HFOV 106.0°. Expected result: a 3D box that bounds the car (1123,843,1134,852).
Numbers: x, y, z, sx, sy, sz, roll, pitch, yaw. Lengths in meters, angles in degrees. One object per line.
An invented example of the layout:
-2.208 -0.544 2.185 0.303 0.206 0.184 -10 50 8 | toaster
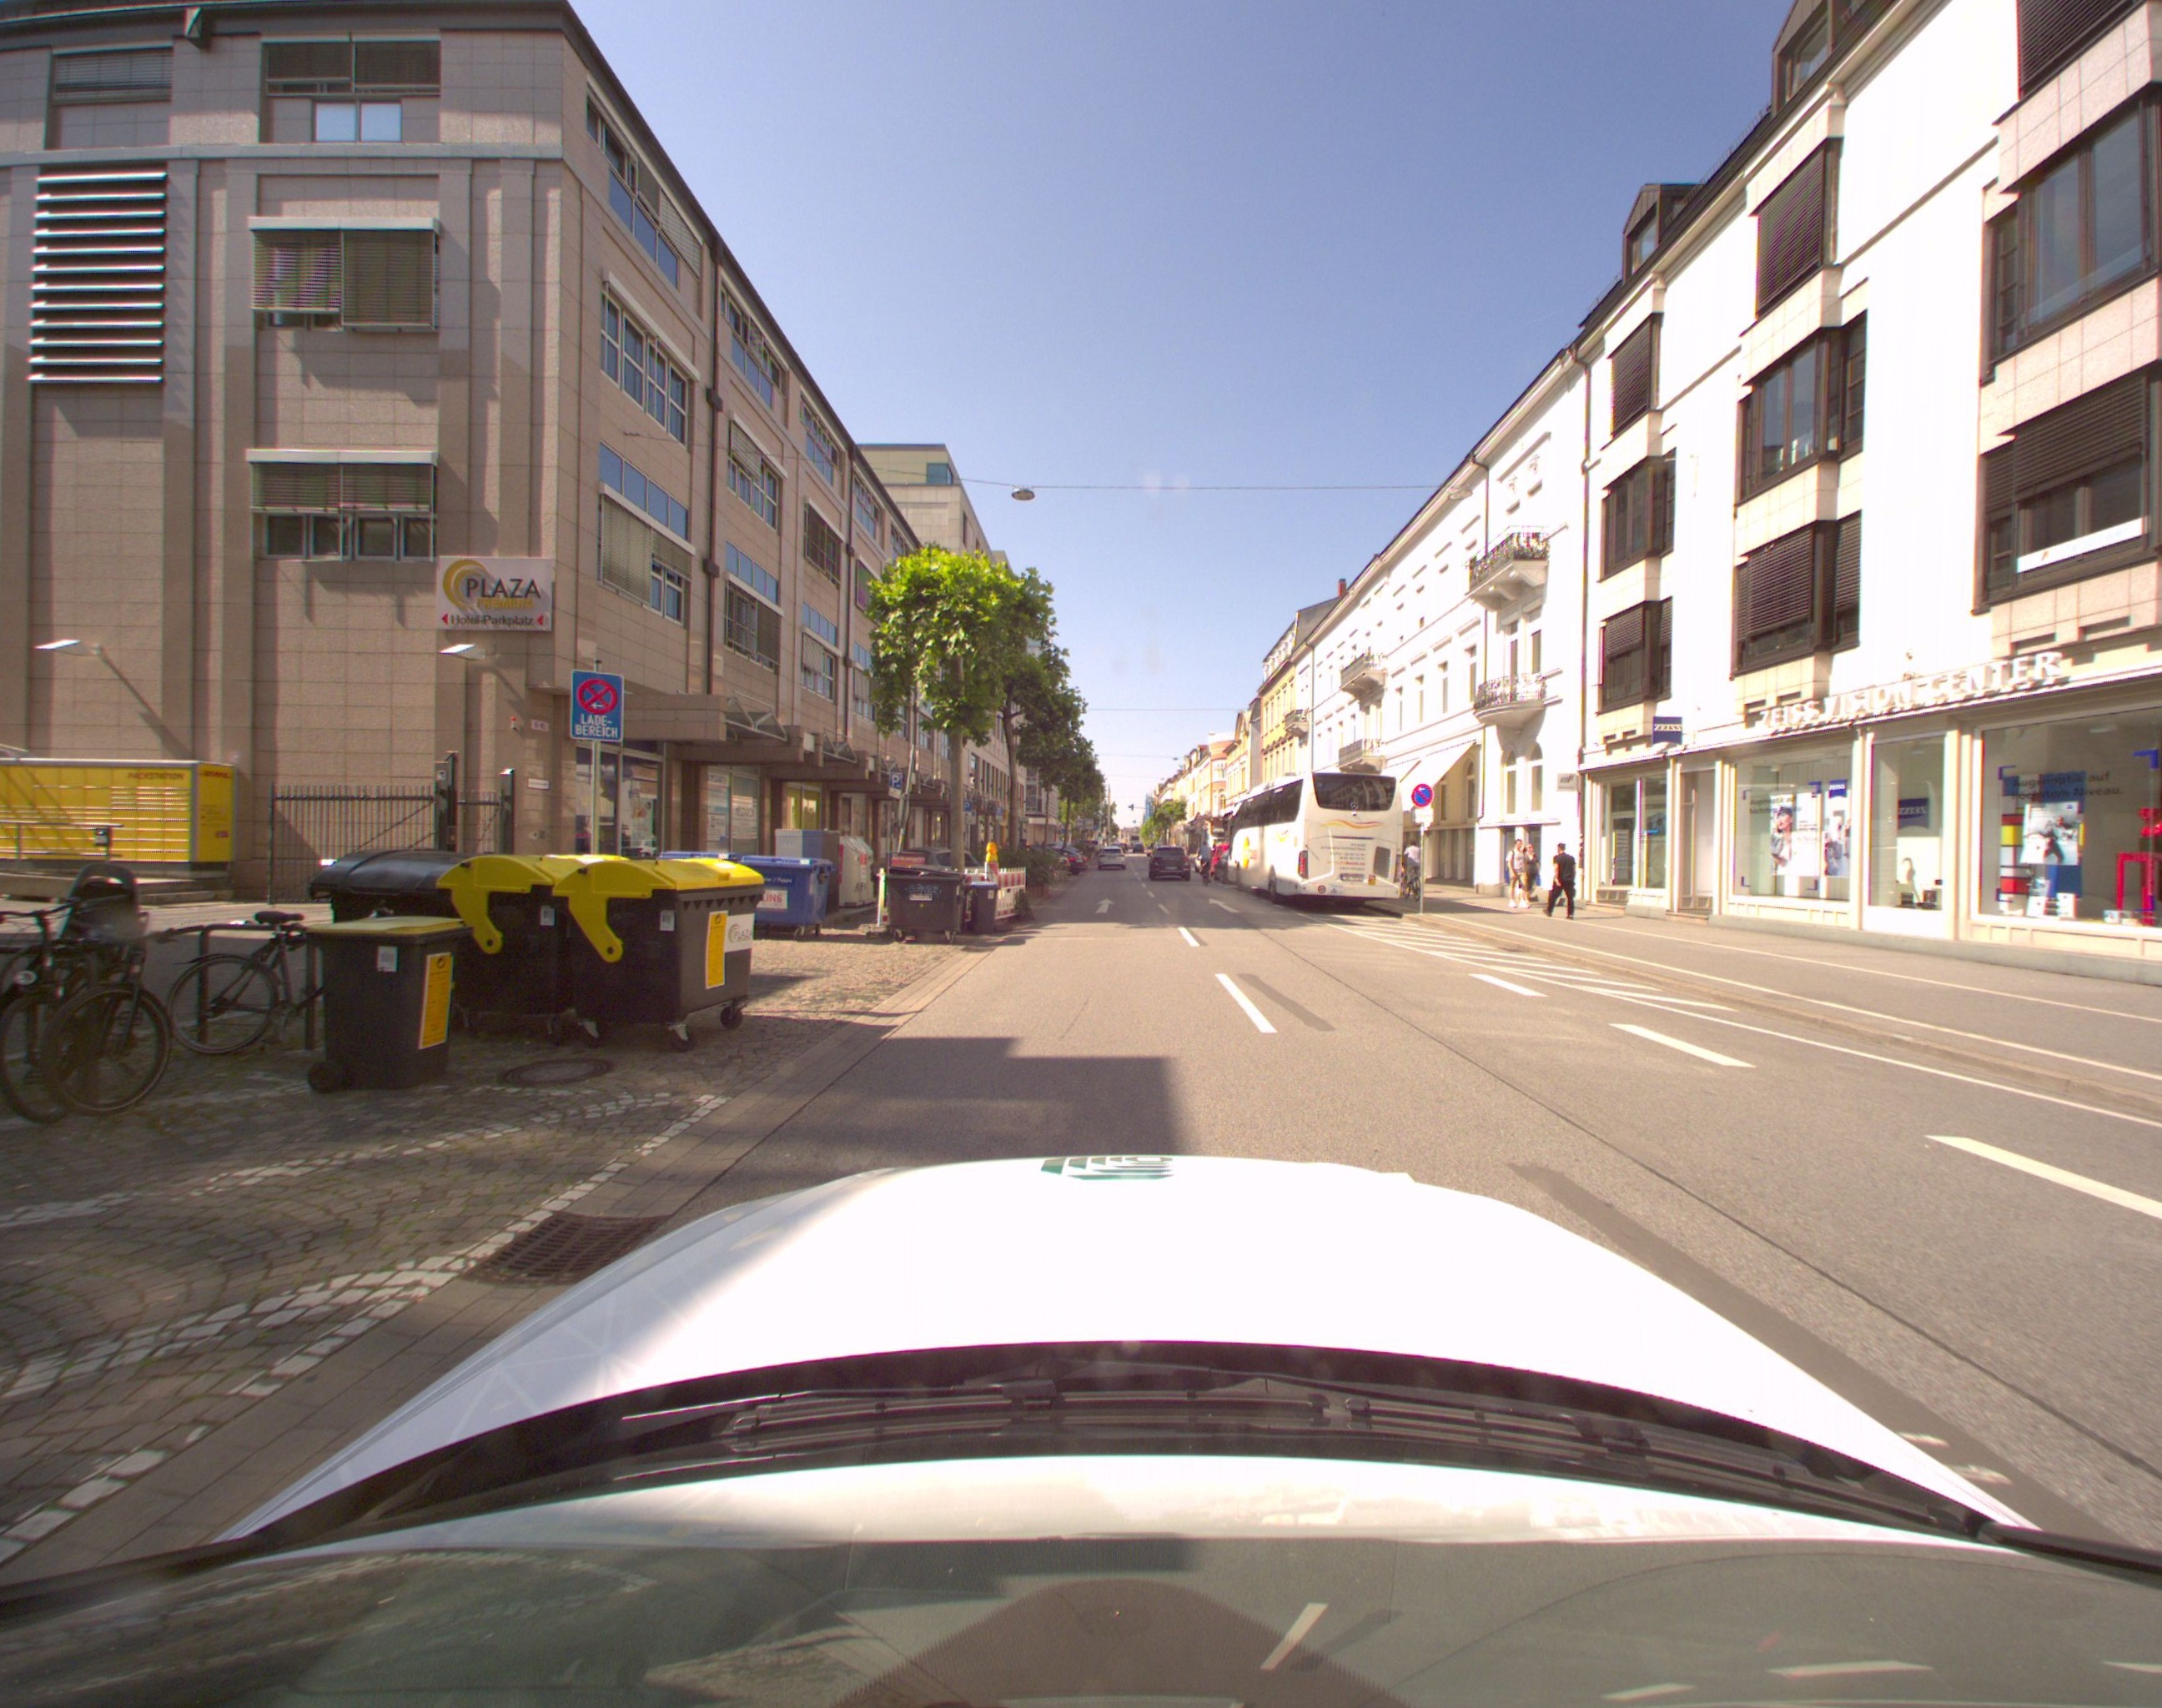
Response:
8.144 -1.097 140.052 1.856 1.441 4.001 -1 -1 2 | car

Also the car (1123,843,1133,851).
9.253 -1.302 159.012 1.856 1.441 4.001 -1 -1 2 | car

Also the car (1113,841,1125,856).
5.677 -0.807 121.879 1.856 2.030 4.002 1 -1 2 | car

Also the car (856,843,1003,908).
-4.178 0.515 22.168 4.008 1.494 1.947 3 2 44 | car

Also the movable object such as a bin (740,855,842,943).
-4.723 0.710 13.356 1.204 1.299 1.081 2 2 2 | movable object such as a bin

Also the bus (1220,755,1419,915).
6.789 -0.522 25.807 2.871 3.741 12.432 2 1 2 | bus

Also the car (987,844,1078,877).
-2.558 0.297 41.715 4.699 1.533 2.002 2 1 45 | car

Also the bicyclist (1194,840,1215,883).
4.979 0.300 32.875 0.691 1.673 0.917 3 2 4 | bicyclist

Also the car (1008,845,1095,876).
-1.659 0.319 44.664 4.737 1.422 1.894 3 2 43 | car

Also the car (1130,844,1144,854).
8.385 -0.788 122.209 1.856 1.441 4.002 0 1 2 | car

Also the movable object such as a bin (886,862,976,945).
-2.457 0.794 13.446 1.272 1.299 0.854 1 0 2 | movable object such as a bin

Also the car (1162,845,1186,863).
8.337 0.004 73.006 1.826 1.527 4.002 -1 -1 2 | car

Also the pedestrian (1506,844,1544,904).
12.309 0.546 22.597 0.642 1.617 0.823 0 -1 5 | pedestrian

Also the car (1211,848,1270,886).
6.989 0.505 36.200 1.851 1.469 5.231 2 1 3 | car

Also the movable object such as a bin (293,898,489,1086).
-4.513 0.879 5.376 0.721 1.097 0.655 2 1 -5 | movable object such as a bin

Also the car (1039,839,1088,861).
-1.572 -0.326 72.434 3.951 1.568 1.710 6 1 27 | car

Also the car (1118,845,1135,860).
4.637 -0.156 83.821 1.736 1.441 4.003 0 1 2 | car

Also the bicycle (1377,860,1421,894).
10.935 0.771 28.057 0.618 1.099 2.353 1 0 1 | bicycle

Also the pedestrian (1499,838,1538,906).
11.681 0.481 21.755 0.570 1.778 1.021 0 -1 5 | pedestrian

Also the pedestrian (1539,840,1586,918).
10.900 0.551 18.463 0.617 1.720 0.836 0 -1 5 | pedestrian

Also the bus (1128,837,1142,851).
13.993 -2.660 211.561 2.761 3.605 8.972 0 1 0 | bus

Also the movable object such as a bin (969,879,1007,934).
-1.716 0.955 14.954 0.556 0.939 0.497 -2 1 -24 | movable object such as a bin

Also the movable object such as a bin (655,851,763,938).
-6.111 0.638 13.447 1.204 1.299 1.128 2 1 2 | movable object such as a bin

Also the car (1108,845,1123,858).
4.001 -0.336 95.409 1.736 1.441 4.003 0 1 2 | car

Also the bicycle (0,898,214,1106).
-6.153 0.800 4.588 1.838 1.073 0.556 1 -2 -2 | bicycle

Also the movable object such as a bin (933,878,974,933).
-2.304 0.917 14.727 0.495 0.939 0.558 -1 1 19 | movable object such as a bin

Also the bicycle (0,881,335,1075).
-6.172 0.789 5.349 1.968 1.120 0.509 3 -1 -2 | bicycle

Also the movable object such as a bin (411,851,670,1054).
-4.479 0.741 6.897 1.117 1.450 1.442 2 2 8 | movable object such as a bin

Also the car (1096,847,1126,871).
1.883 0.314 52.429 1.856 1.441 4.000 1 0 1 | car

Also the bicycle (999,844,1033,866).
-4.079 0.071 51.174 2.061 1.288 0.367 3 0 -5 | bicycle

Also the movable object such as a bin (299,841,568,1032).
-5.608 0.639 7.173 1.202 1.450 1.367 2 2 8 | movable object such as a bin

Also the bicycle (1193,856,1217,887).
4.964 0.675 32.731 0.662 1.120 2.245 2 1 3 | bicycle

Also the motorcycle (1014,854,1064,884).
-1.734 0.606 33.824 1.893 1.170 0.764 2 1 23 | motorcycle

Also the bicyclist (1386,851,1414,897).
10.934 0.670 27.963 0.618 1.529 0.869 1 0 1 | bicyclist

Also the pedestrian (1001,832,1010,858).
-4.752 -0.581 51.313 0.565 1.657 0.635 0 1 -7 | pedestrian

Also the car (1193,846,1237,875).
7.707 0.341 47.185 1.807 1.466 4.580 2 2 0 | car

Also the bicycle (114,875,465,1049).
-5.726 0.764 5.956 1.961 1.120 0.509 3 -1 -2 | bicycle

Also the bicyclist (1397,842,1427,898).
9.918 0.464 24.407 0.690 1.625 0.838 0 0 11 | bicyclist

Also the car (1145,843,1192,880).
3.945 0.318 37.297 1.826 1.527 4.003 3 0 3 | car

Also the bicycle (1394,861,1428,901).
9.922 0.795 24.530 0.590 1.120 1.806 0 1 10 | bicycle

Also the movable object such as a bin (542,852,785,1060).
-3.365 0.745 6.749 1.117 1.450 1.442 2 2 8 | movable object such as a bin

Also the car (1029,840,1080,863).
-2.167 -0.222 66.054 3.976 1.500 1.716 5 1 -2 | car

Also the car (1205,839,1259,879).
7.657 0.219 41.720 1.822 1.863 4.353 2 1 -1 | car

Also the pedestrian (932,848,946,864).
-8.084 0.116 46.259 0.563 0.809 0.775 5 1 3 | pedestrian

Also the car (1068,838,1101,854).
0.461 -1.170 119.616 4.666 2.003 1.953 5 0 43 | car

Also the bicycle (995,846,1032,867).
-4.060 0.136 48.964 2.056 1.130 0.618 3 0 3 | bicycle
